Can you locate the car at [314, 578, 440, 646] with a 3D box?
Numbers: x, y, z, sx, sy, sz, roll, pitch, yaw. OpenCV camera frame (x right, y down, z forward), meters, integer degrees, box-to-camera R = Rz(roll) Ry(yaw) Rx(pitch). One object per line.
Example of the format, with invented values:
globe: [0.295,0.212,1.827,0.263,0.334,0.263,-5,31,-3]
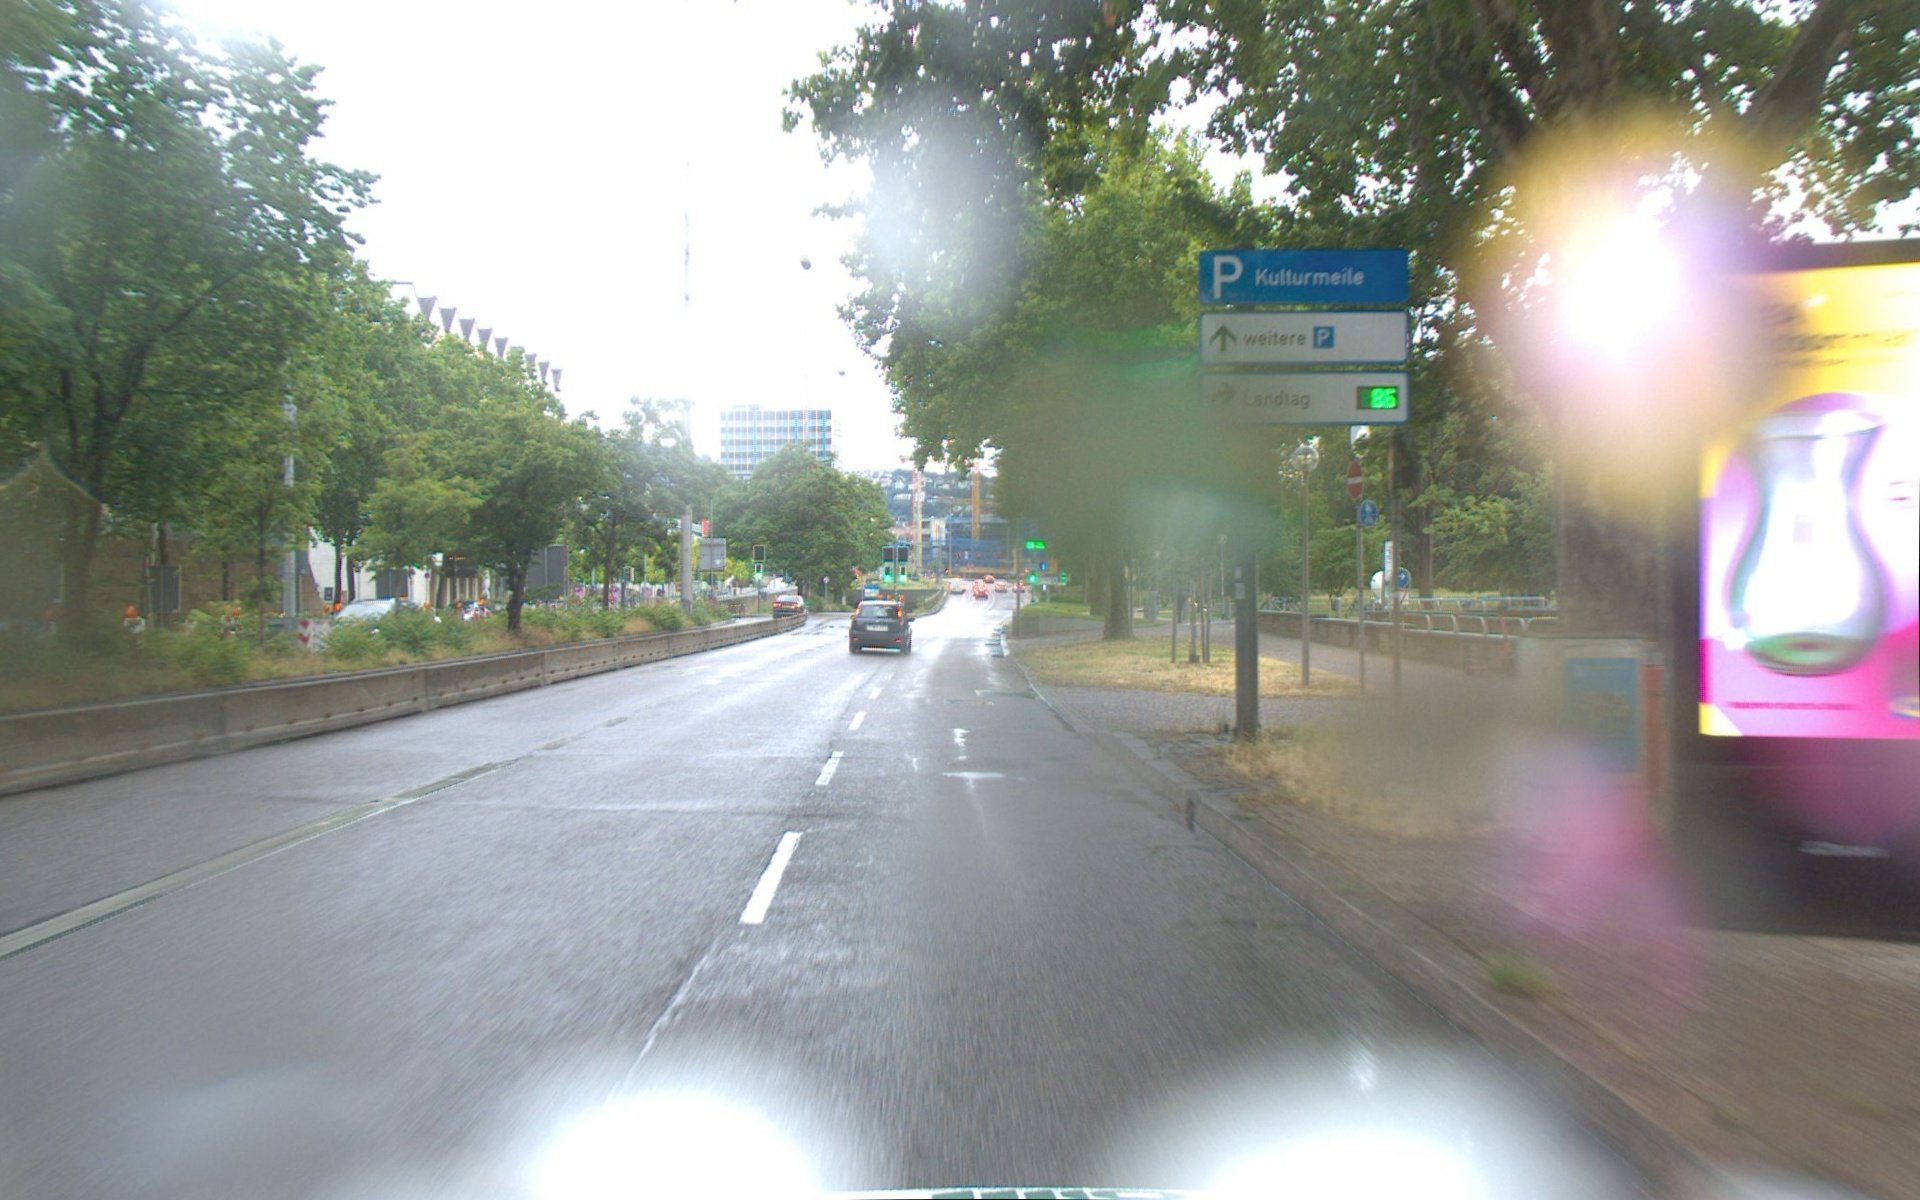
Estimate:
car: [-14.458,0.275,41.243,1.954,1.624,3.997,0,0,-4]

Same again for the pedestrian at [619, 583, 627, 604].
pedestrian: [-32.667,-0.614,160.221,0.535,2.049,0.524,-1,1,-35]

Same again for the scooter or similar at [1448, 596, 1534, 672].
scooter or similar: [9.232,0.583,28.793,0.536,1.277,1.421,-1,0,-32]

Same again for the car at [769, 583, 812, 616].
car: [-9.743,-0.047,95.178,1.952,1.812,4.001,-1,1,1]

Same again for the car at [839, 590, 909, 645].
car: [-2.459,0.505,46.779,1.808,1.441,3.835,-2,-1,-5]

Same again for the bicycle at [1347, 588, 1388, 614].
bicycle: [17.876,0.037,72.599,1.609,1.104,0.709,-1,1,-5]

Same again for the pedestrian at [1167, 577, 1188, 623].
pedestrian: [8.553,-0.001,64.958,0.690,1.748,0.692,-2,0,1]

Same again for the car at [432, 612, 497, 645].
car: [-24.658,1.408,82.423,1.952,1.557,4.000,-2,-1,1]

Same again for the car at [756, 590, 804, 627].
car: [-7.439,0.345,68.807,1.719,1.477,3.998,-1,0,-3]

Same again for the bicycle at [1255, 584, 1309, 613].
bicycle: [13.413,-0.058,68.984,1.997,1.194,0.958,-1,1,-10]

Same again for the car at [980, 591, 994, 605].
car: [3.654,-0.262,227.860,1.704,1.802,3.999,-2,-1,-2]

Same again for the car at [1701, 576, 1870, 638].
car: [23.226,0.185,46.614,3.904,1.628,1.657,-1,0,2]

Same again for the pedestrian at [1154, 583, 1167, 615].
pedestrian: [11.227,-0.045,92.595,0.582,1.786,0.725,-2,1,-2]

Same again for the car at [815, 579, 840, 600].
car: [-10.680,-0.837,133.451,1.954,1.661,3.997,0,0,-4]

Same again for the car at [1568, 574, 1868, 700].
car: [11.150,0.460,24.842,1.953,1.637,5.235,0,1,-2]

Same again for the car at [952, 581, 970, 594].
car: [0.156,-1.916,256.577,2.172,2.049,4.004,0,0,10]

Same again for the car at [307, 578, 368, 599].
car: [-47.040,-0.871,125.049,3.907,1.624,1.999,0,0,-2]
